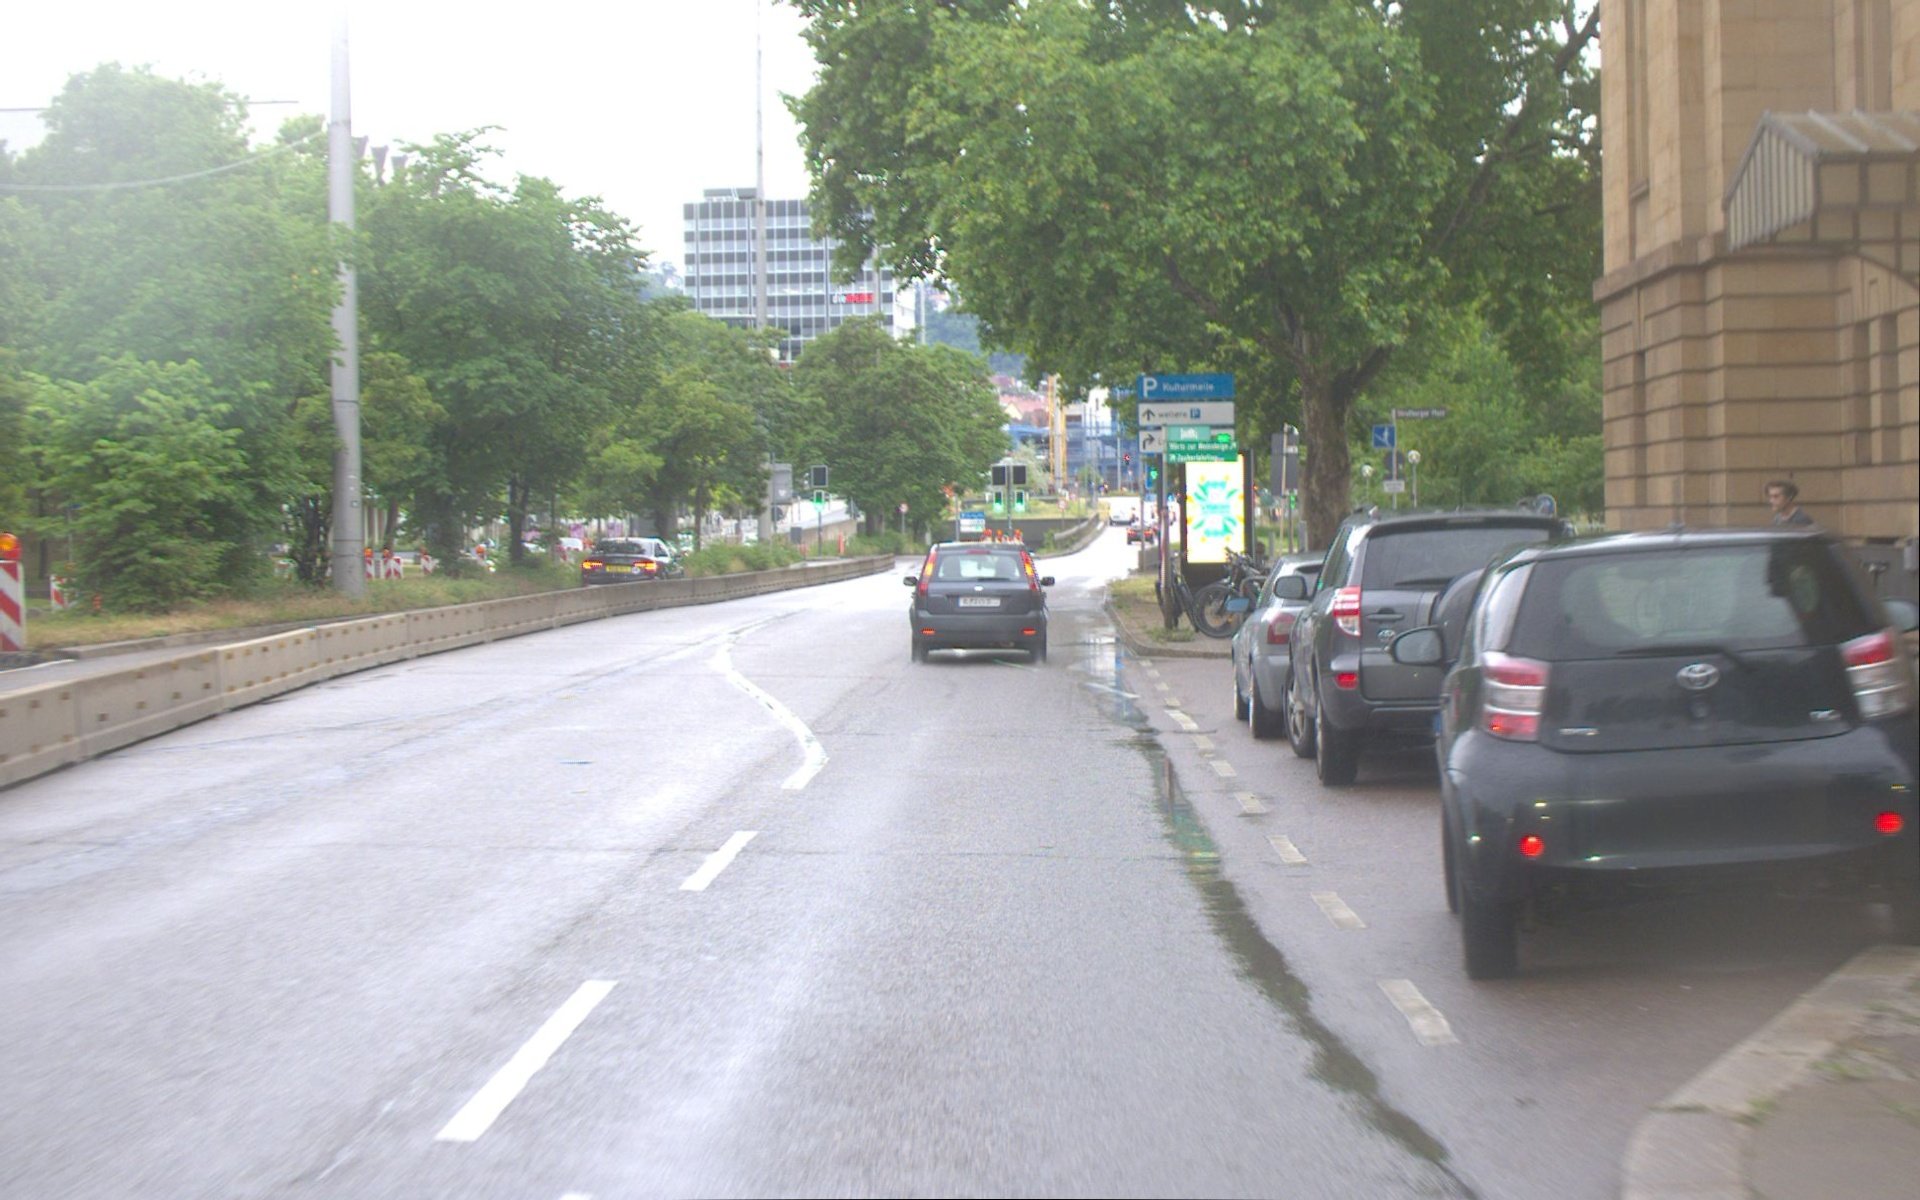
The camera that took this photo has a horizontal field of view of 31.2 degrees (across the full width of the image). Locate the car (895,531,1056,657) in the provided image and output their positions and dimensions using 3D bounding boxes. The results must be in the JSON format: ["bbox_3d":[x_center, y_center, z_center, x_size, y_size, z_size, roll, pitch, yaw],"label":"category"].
[{"bbox_3d":[0.151,-0.082,42.176,1.844,1.411,3.839,-2,0,-1],"label":"car"}]

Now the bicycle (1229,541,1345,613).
[{"bbox_3d":[4.538,-0.318,47.788,1.589,0.991,0.524,0,1,4],"label":"bicycle"}]

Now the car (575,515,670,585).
[{"bbox_3d":[-7.117,-1.059,72.803,1.754,1.447,4.000,0,1,-2],"label":"car"}]

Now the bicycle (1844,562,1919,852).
[{"bbox_3d":[4.480,0.451,14.350,0.775,1.214,1.966,-2,1,-9],"label":"bicycle"}]

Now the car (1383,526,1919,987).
[{"bbox_3d":[2.464,0.478,12.505,1.759,1.409,3.151,-2,1,7],"label":"car"}]

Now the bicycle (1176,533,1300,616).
[{"bbox_3d":[3.809,-0.357,47.080,1.679,1.118,0.601,0,2,4],"label":"bicycle"}]

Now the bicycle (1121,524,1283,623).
[{"bbox_3d":[3.309,-0.368,47.005,2.191,1.332,0.650,0,1,4],"label":"bicycle"}]

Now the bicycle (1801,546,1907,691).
[{"bbox_3d":[7.684,0.142,29.606,0.464,1.211,1.692,0,1,0],"label":"bicycle"}]

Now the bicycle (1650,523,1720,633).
[{"bbox_3d":[8.451,-0.273,40.127,0.453,1.246,1.600,1,1,0],"label":"bicycle"}]

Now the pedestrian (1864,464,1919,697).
[{"bbox_3d":[7.544,-0.169,26.702,0.795,1.771,0.642,-3,1,2],"label":"pedestrian"}]

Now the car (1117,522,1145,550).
[{"bbox_3d":[11.565,-4.322,232.366,1.739,1.765,4.000,-2,0,4],"label":"car"}]

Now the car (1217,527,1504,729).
[{"bbox_3d":[3.054,0.175,26.885,1.931,1.473,3.703,0,1,2],"label":"car"}]

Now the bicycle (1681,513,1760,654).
[{"bbox_3d":[8.333,-0.198,37.704,0.453,1.510,1.600,1,1,-1],"label":"bicycle"}]

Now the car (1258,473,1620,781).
[{"bbox_3d":[2.943,0.124,21.941,1.994,1.775,4.188,0,1,4],"label":"car"}]

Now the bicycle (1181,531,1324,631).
[{"bbox_3d":[3.939,-0.265,46.337,1.906,1.328,0.650,0,1,4],"label":"bicycle"}]

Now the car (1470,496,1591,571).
[{"bbox_3d":[13.085,-1.562,79.131,1.993,1.604,5.237,0,3,1],"label":"car"}]

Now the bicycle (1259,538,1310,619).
[{"bbox_3d":[4.970,-0.338,52.588,0.605,1.193,1.904,-2,0,9],"label":"bicycle"}]

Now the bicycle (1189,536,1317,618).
[{"bbox_3d":[3.892,-0.312,45.768,1.679,1.086,0.650,0,1,4],"label":"bicycle"}]

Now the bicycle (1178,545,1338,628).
[{"bbox_3d":[3.827,-0.174,44.212,1.985,1.056,0.759,0,1,-1],"label":"bicycle"}]

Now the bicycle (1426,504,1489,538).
[{"bbox_3d":[17.799,-2.838,123.038,2.034,1.169,0.960,-1,2,-7],"label":"bicycle"}]
